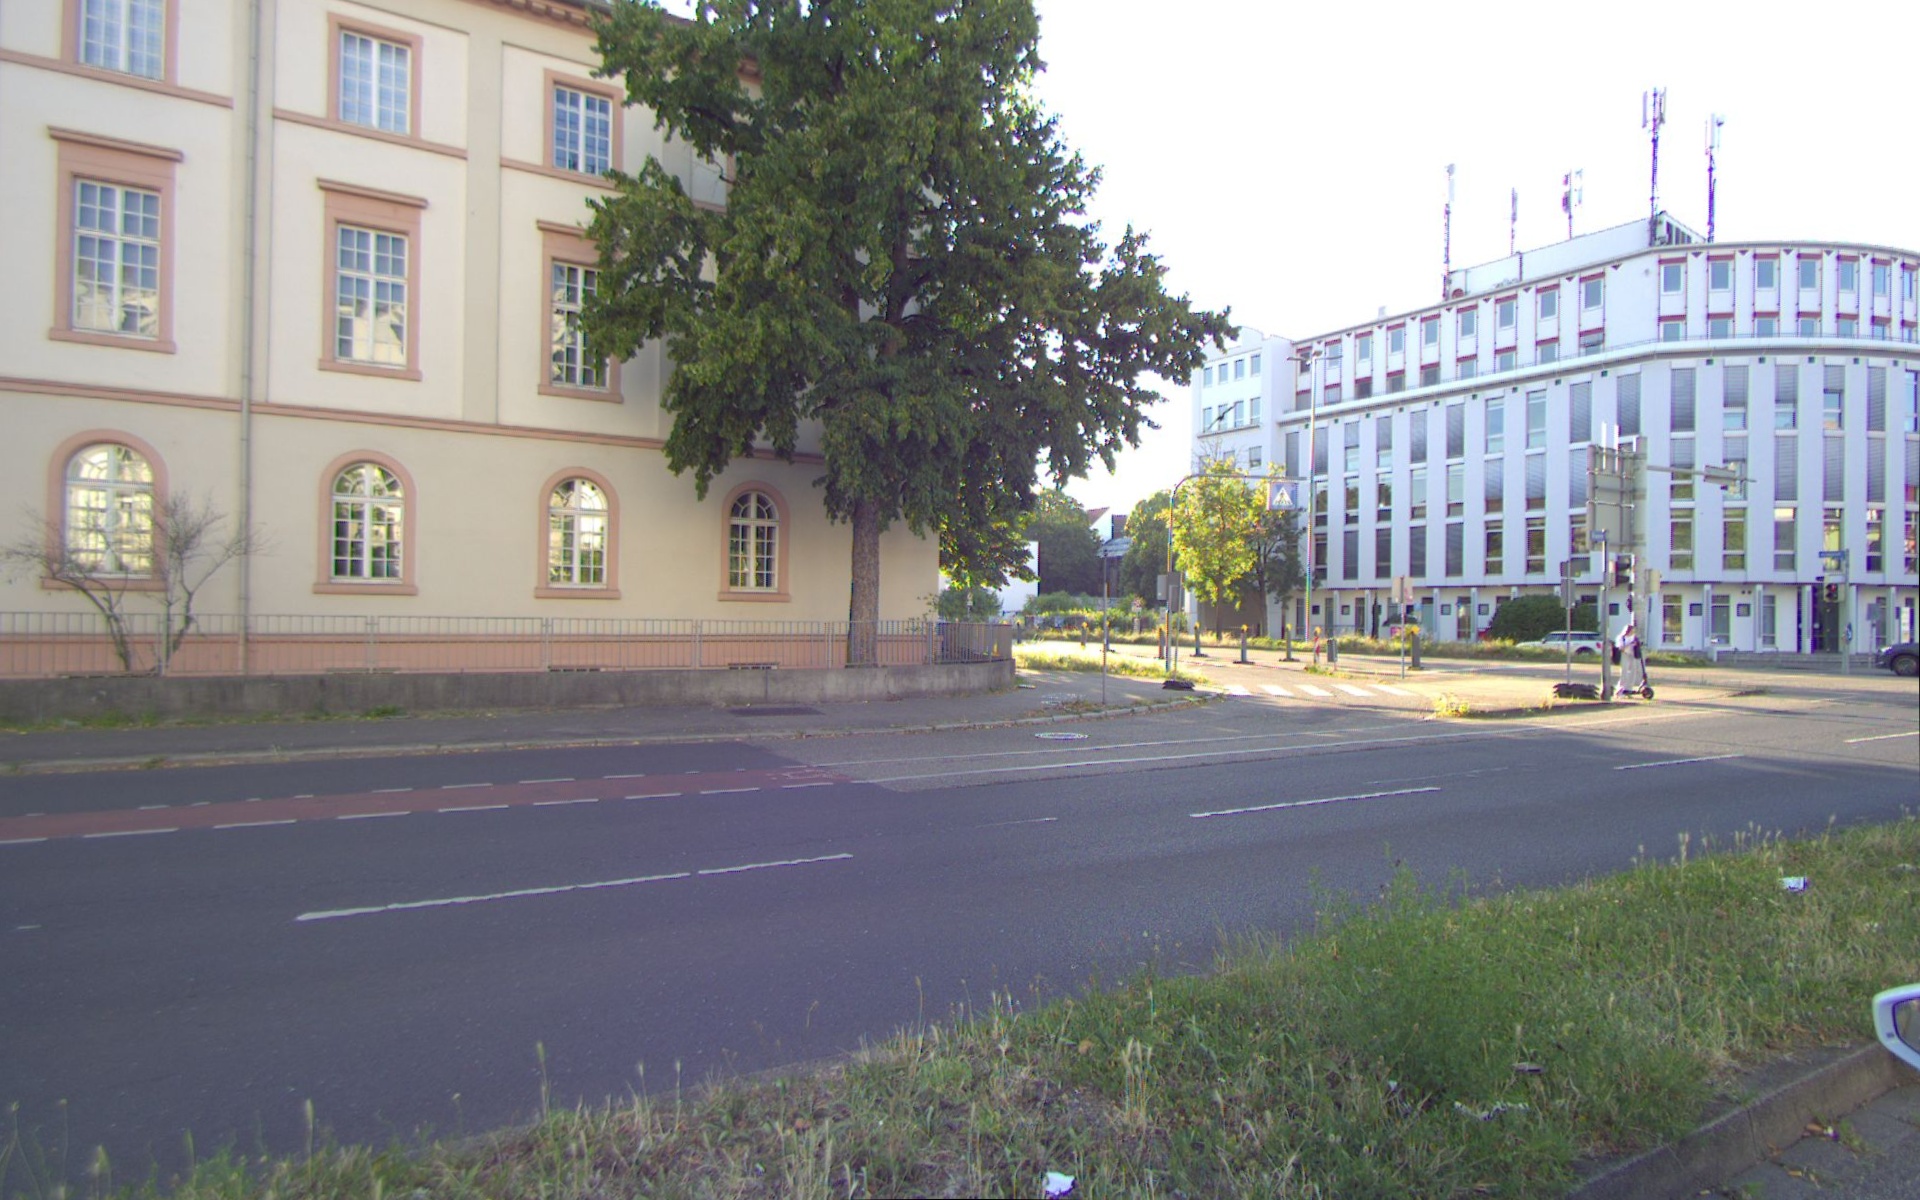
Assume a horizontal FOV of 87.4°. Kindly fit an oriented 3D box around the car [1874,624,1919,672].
[{"bbox_3d":[32.555,1.581,32.415,1.771,1.570,4.308,1,-1,-36],"label":"car"}]

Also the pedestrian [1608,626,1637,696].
[{"bbox_3d":[14.809,1.350,22.457,0.332,1.525,0.470,1,-1,-41],"label":"pedestrian"}]

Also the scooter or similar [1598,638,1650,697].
[{"bbox_3d":[14.728,1.487,22.285,0.368,1.250,0.885,1,-1,-40],"label":"scooter or similar"}]

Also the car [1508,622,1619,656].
[{"bbox_3d":[27.403,1.742,45.708,1.770,1.439,3.961,1,-1,-35],"label":"car"}]
